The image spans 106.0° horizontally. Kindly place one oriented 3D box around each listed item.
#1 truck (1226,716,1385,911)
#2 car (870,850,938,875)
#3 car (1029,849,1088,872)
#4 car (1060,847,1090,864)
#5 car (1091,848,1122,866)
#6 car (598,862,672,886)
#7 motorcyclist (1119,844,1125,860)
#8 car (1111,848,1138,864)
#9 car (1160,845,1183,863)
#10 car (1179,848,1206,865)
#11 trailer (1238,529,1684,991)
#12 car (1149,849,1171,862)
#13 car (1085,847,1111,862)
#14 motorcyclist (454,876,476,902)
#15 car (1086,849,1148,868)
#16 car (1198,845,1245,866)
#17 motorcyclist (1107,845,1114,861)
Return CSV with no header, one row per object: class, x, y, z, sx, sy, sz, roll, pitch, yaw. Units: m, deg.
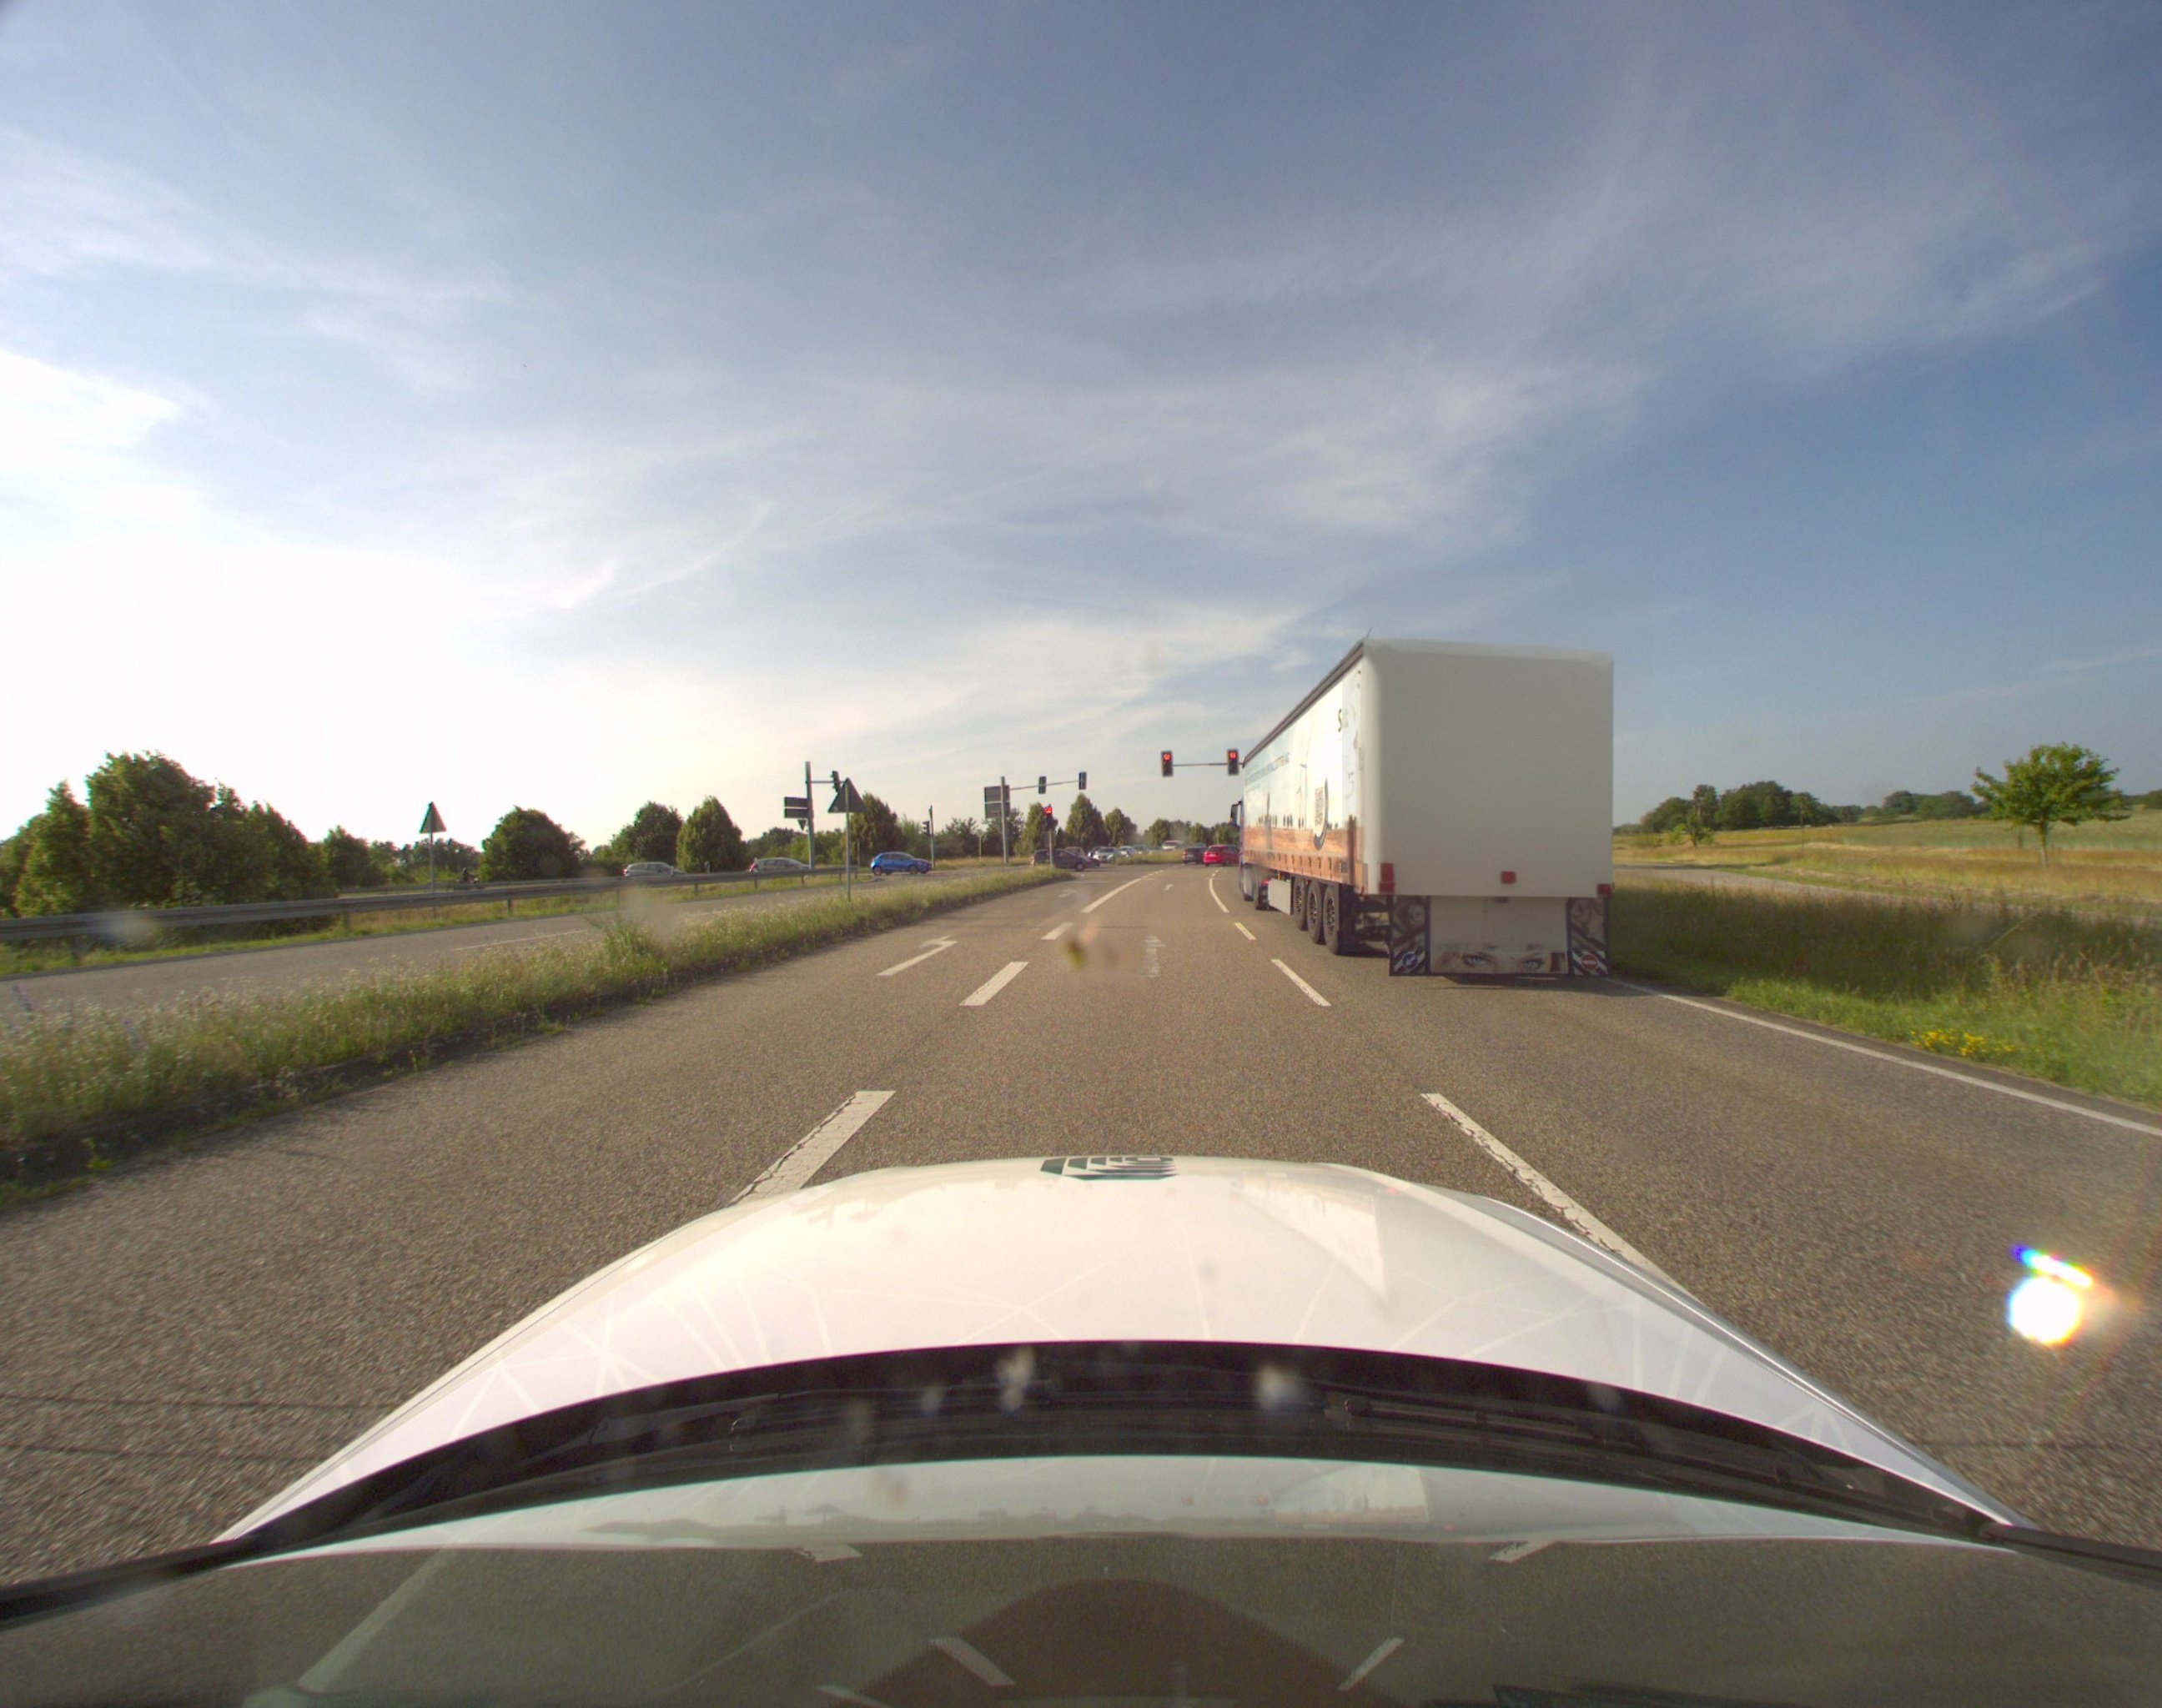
truck,5.897,-0.964,22.458,3.283,4.657,5.742,-1,0,6
car,-11.536,0.556,53.164,3.946,1.492,1.784,-1,0,11
car,-1.452,0.426,52.781,3.774,1.416,1.919,-1,-1,-3
car,-0.537,0.132,76.672,1.707,1.488,3.820,-2,0,16
car,2.333,0.224,73.052,1.773,1.488,4.669,-2,0,15
car,-30.435,1.348,55.641,4.158,1.605,1.794,-1,-1,8
motorcyclist,4.827,-0.254,95.834,0.658,1.817,0.606,-2,0,7
car,4.366,0.187,80.846,1.773,1.433,4.326,-2,0,15
car,11.315,-0.019,101.682,1.910,2.078,4.263,-2,0,18
car,9.275,0.215,67.365,1.824,1.377,4.292,-1,-1,12
trailer,5.140,-0.965,14.951,3.265,4.681,13.169,-1,0,6
car,9.019,0.140,92.565,1.773,1.385,4.067,-2,0,15
car,1.789,0.052,84.396,1.773,1.433,4.067,-2,0,15
motorcyclist,-43.359,2.477,57.304,0.827,1.758,0.906,0,0,-3
car,2.566,0.306,58.708,4.256,1.323,1.912,-1,-1,-5
car,10.594,0.129,61.146,1.877,1.565,4.305,-1,-1,33
motorcyclist,3.251,-0.075,88.622,0.658,1.747,0.606,-2,0,7
